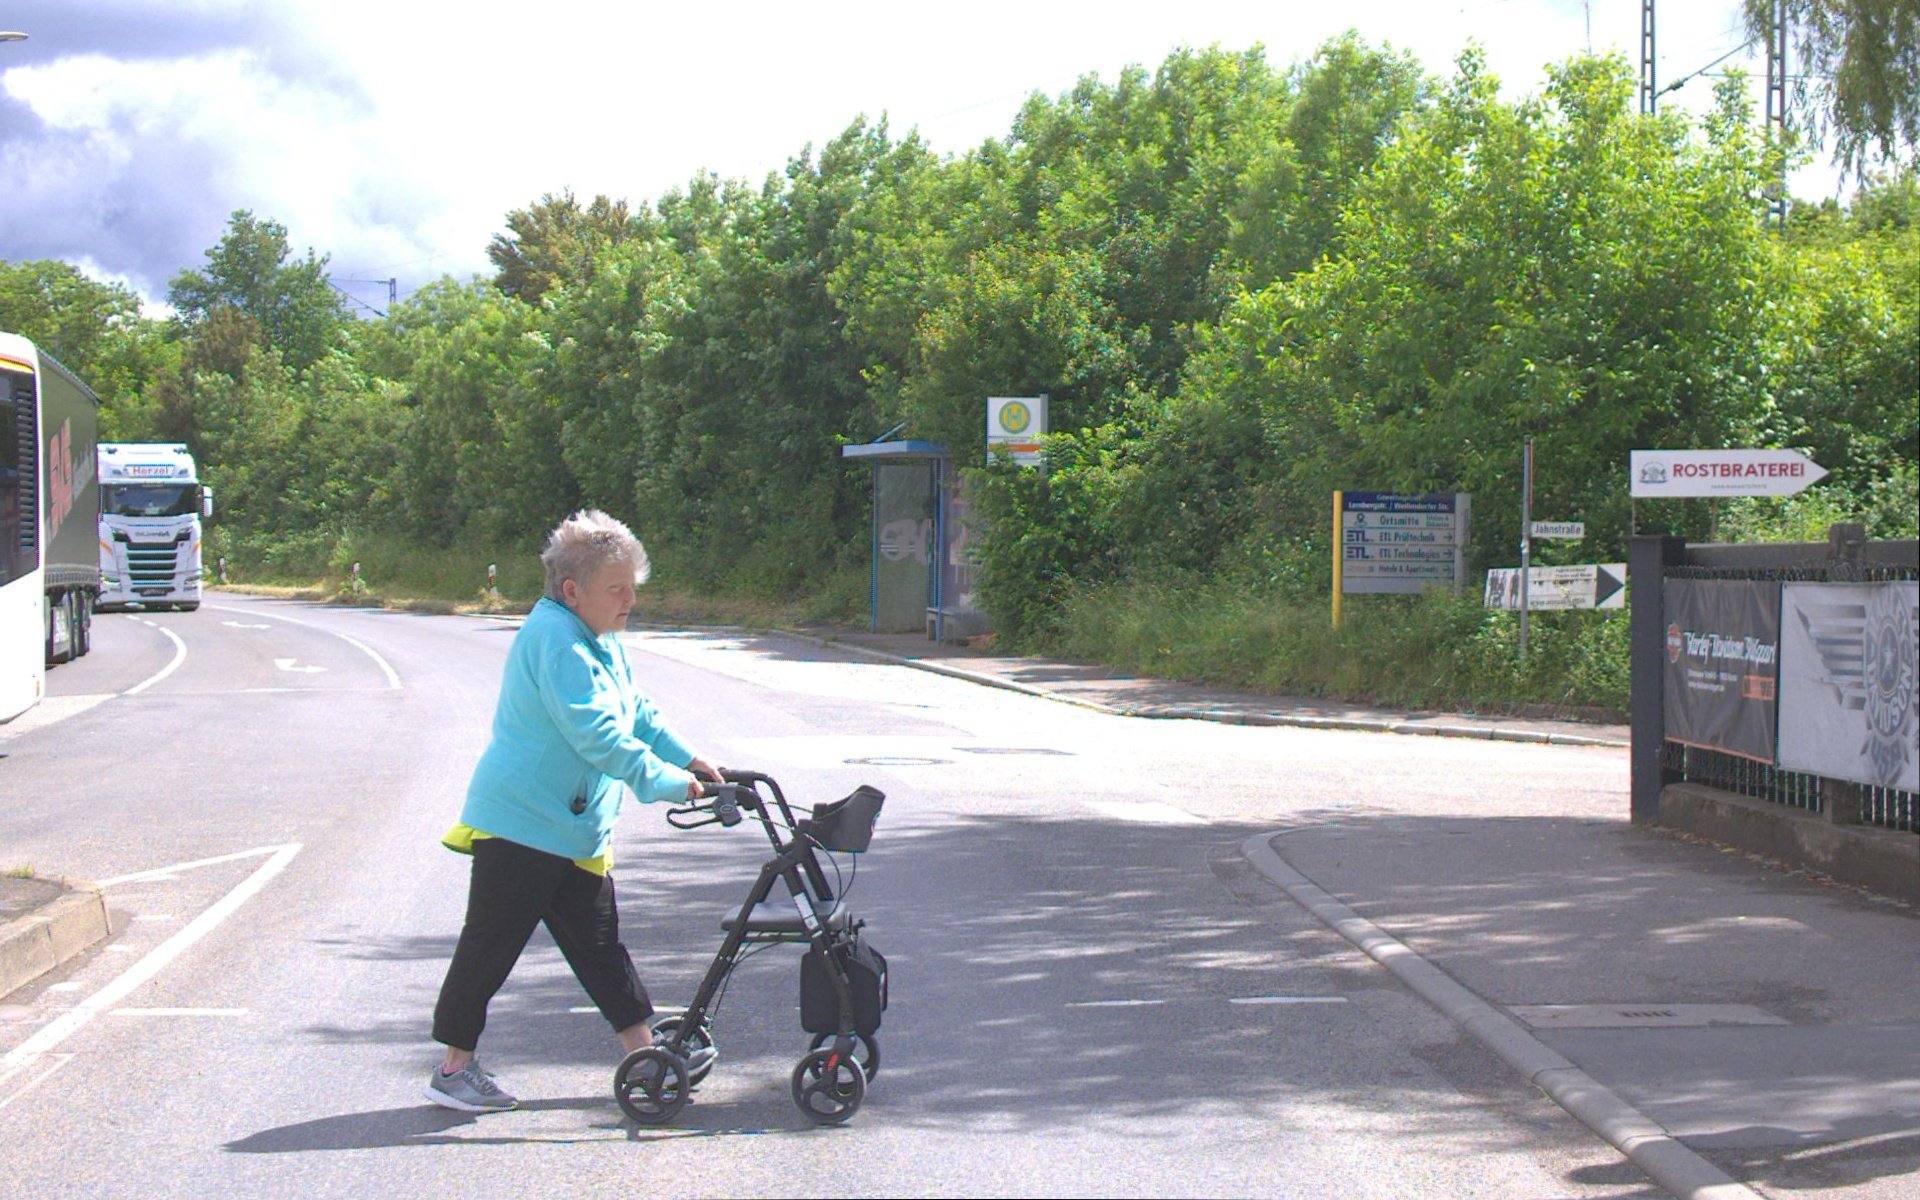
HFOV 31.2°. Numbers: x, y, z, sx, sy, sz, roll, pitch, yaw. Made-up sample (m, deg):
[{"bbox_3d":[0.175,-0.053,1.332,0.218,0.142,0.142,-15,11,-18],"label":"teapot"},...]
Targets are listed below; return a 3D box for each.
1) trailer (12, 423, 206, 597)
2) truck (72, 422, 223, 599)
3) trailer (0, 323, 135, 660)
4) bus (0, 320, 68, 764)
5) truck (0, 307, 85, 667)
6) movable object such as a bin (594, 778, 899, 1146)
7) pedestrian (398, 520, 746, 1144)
[{"bbox_3d":[-22.452,-2.264,89.949,2.770,4.130,15.355,1,1,-22],"label":"trailer"},{"bbox_3d":[-19.676,-2.120,83.069,2.770,4.105,4.988,1,1,-22],"label":"truck"},{"bbox_3d":[-13.649,-1.413,48.900,2.798,4.039,15.560,1,1,-10],"label":"trailer"},{"bbox_3d":[-7.842,-0.345,19.065,2.718,3.020,12.266,0,1,-1],"label":"bus"},{"bbox_3d":[-12.304,-1.321,41.685,2.798,4.039,6.503,1,1,-10],"label":"truck"},{"bbox_3d":[-0.551,0.919,8.893,0.746,0.868,0.671,1,0,-4],"label":"movable object such as a bin"},{"bbox_3d":[-0.982,0.572,8.873,0.838,1.538,0.734,1,0,-4],"label":"pedestrian"}]
